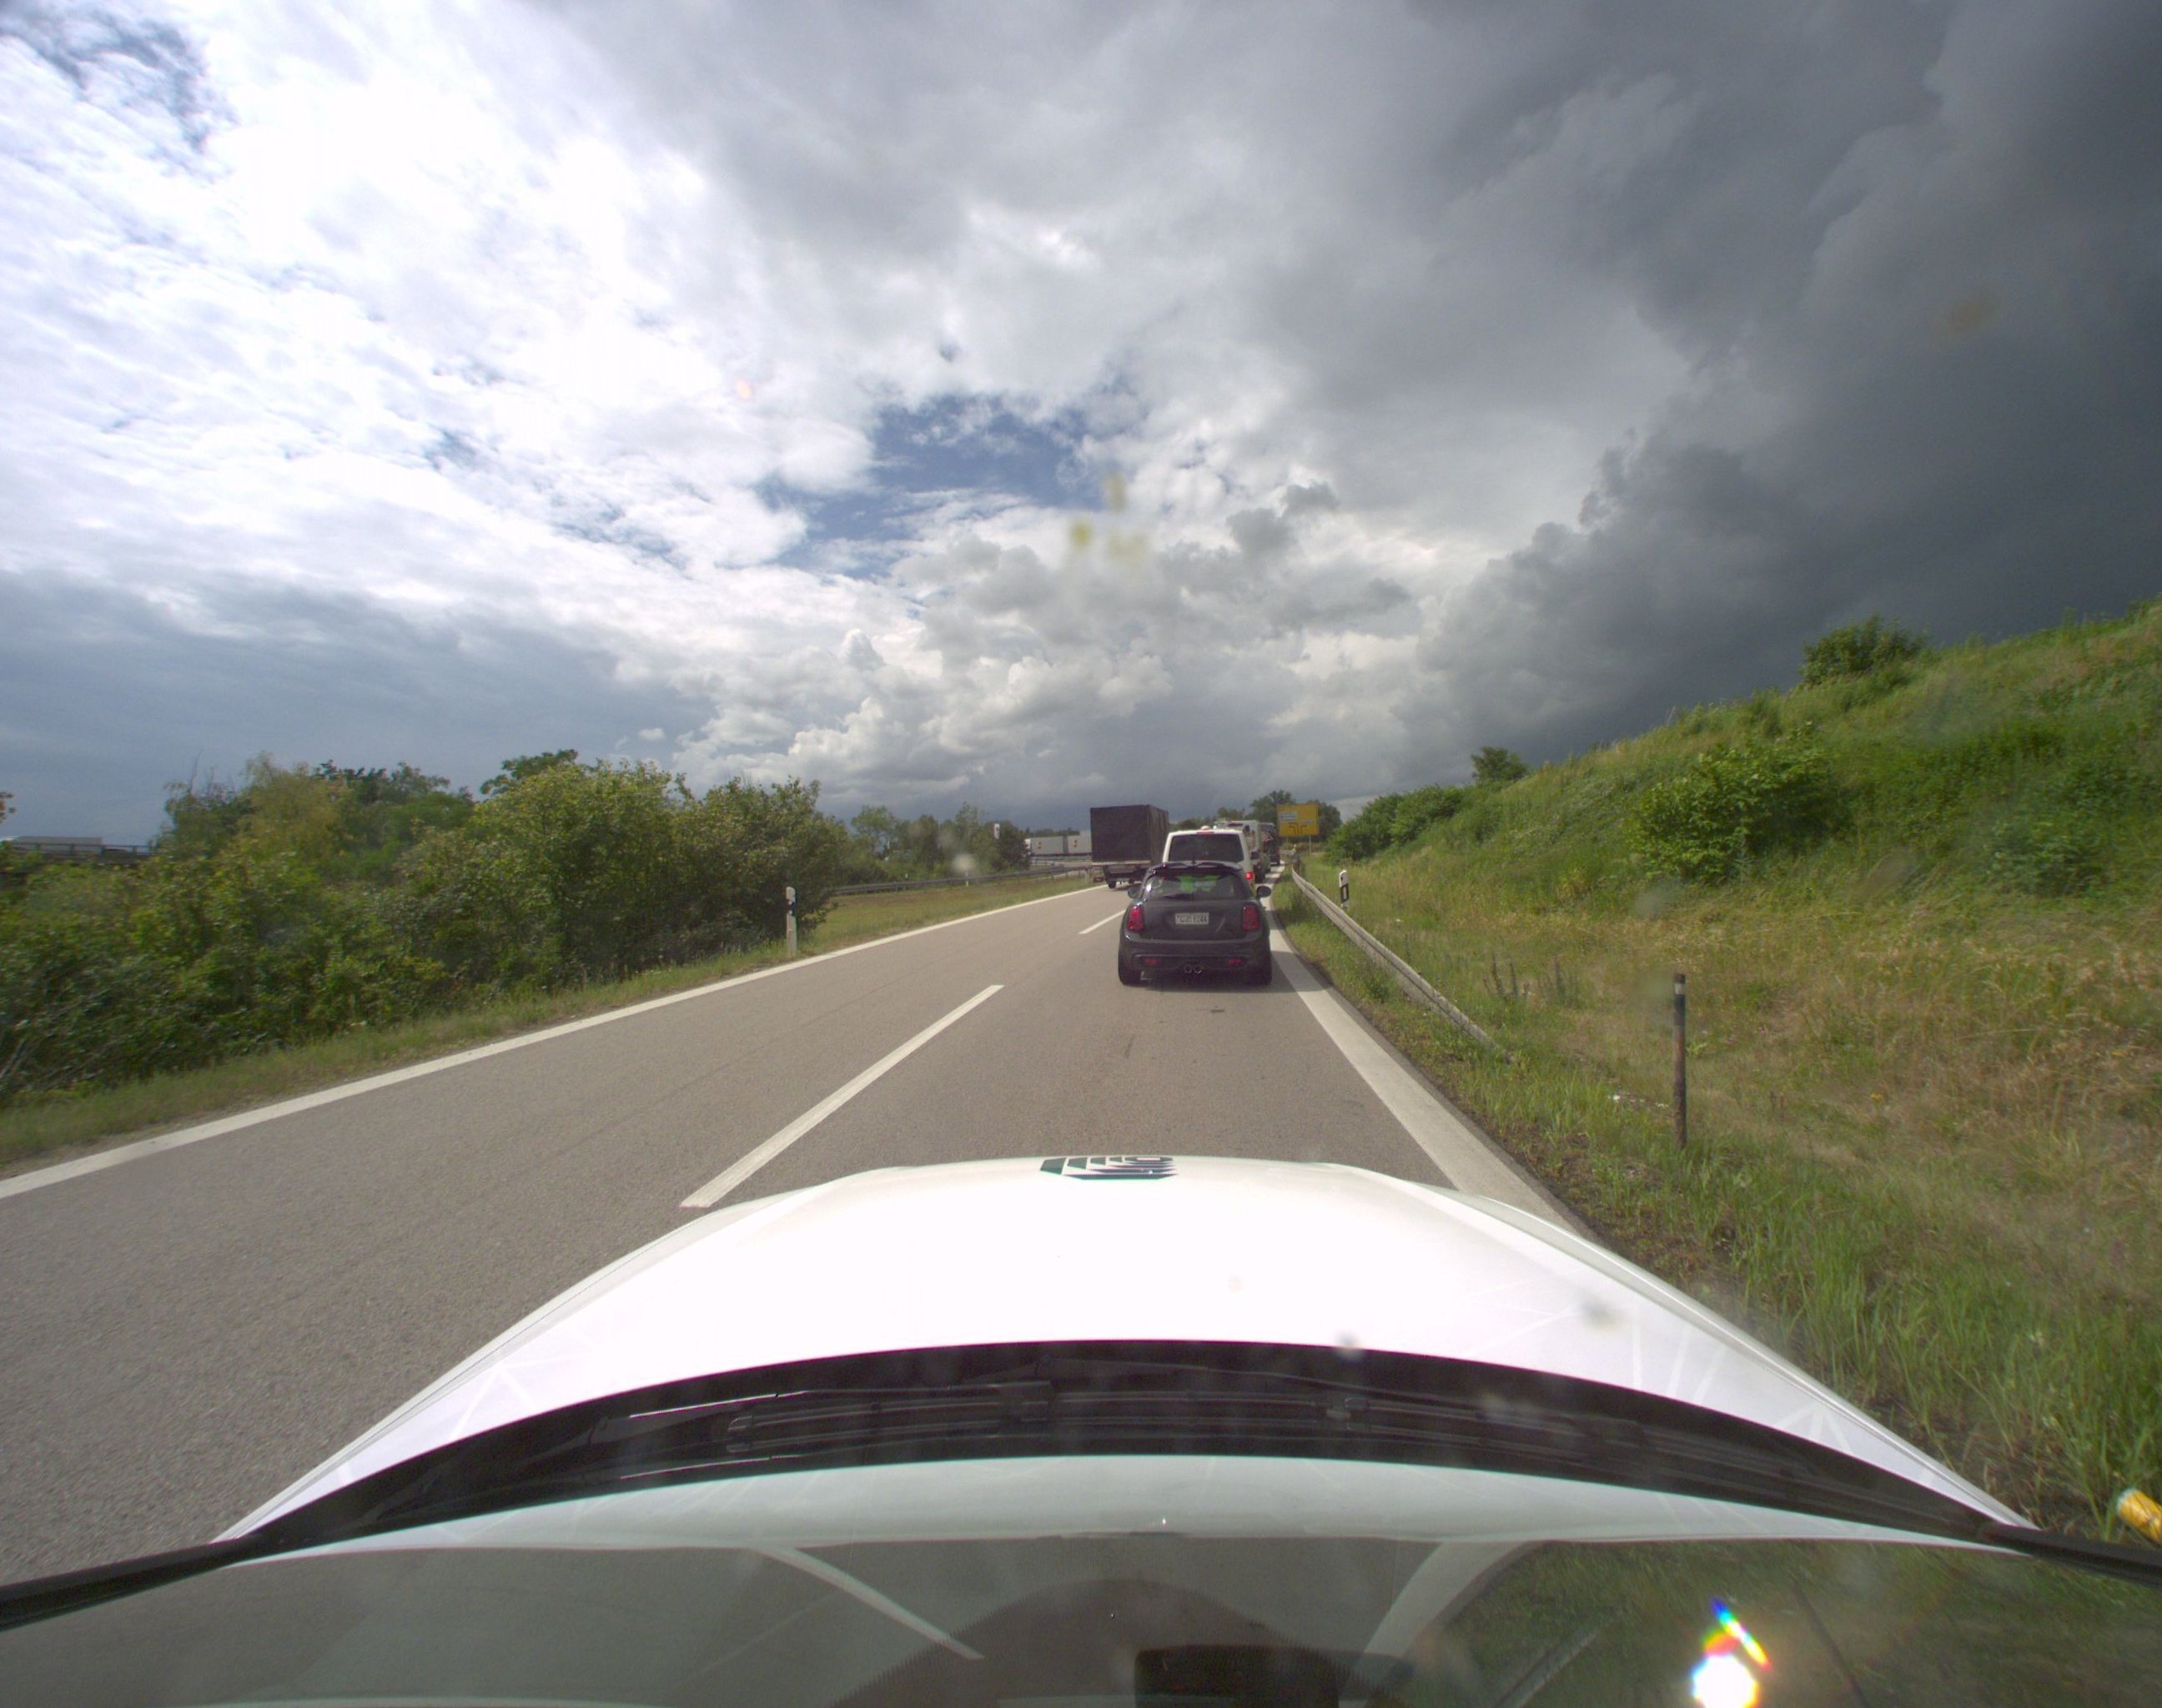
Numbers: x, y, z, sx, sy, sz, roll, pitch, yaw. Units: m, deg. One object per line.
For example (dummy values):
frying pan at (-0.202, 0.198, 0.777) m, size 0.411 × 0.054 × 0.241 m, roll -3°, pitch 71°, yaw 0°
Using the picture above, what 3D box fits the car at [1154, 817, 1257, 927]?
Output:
car at (2.762, 0.363, 17.498) m, size 1.898 × 2.045 × 4.194 m, roll -1°, pitch 0°, yaw 11°

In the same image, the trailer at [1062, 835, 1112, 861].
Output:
trailer at (0.862, -0.936, 131.043) m, size 3.062 × 3.898 × 8.668 m, roll 0°, pitch -1°, yaw -41°

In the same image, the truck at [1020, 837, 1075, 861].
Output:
truck at (-5.680, -0.777, 137.508) m, size 9.901 × 3.976 × 2.863 m, roll -1°, pitch -1°, yaw 40°

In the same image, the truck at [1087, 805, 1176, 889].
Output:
truck at (2.324, -0.199, 34.595) m, size 2.543 × 3.168 × 7.494 m, roll -1°, pitch -1°, yaw 13°

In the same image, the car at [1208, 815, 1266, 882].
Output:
car at (6.778, -0.174, 34.999) m, size 2.196 × 2.622 × 5.553 m, roll -1°, pitch -1°, yaw 13°

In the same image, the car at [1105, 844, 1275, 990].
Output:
car at (1.505, 0.675, 10.587) m, size 1.788 × 1.546 × 3.749 m, roll -1°, pitch 0°, yaw 11°

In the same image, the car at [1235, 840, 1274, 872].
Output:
car at (9.430, 0.134, 44.157) m, size 1.980 × 1.642 × 3.942 m, roll -1°, pitch -1°, yaw 13°

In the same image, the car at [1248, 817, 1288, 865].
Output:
car at (12.894, -0.808, 55.747) m, size 2.293 × 3.069 × 6.690 m, roll -1°, pitch -1°, yaw 16°
